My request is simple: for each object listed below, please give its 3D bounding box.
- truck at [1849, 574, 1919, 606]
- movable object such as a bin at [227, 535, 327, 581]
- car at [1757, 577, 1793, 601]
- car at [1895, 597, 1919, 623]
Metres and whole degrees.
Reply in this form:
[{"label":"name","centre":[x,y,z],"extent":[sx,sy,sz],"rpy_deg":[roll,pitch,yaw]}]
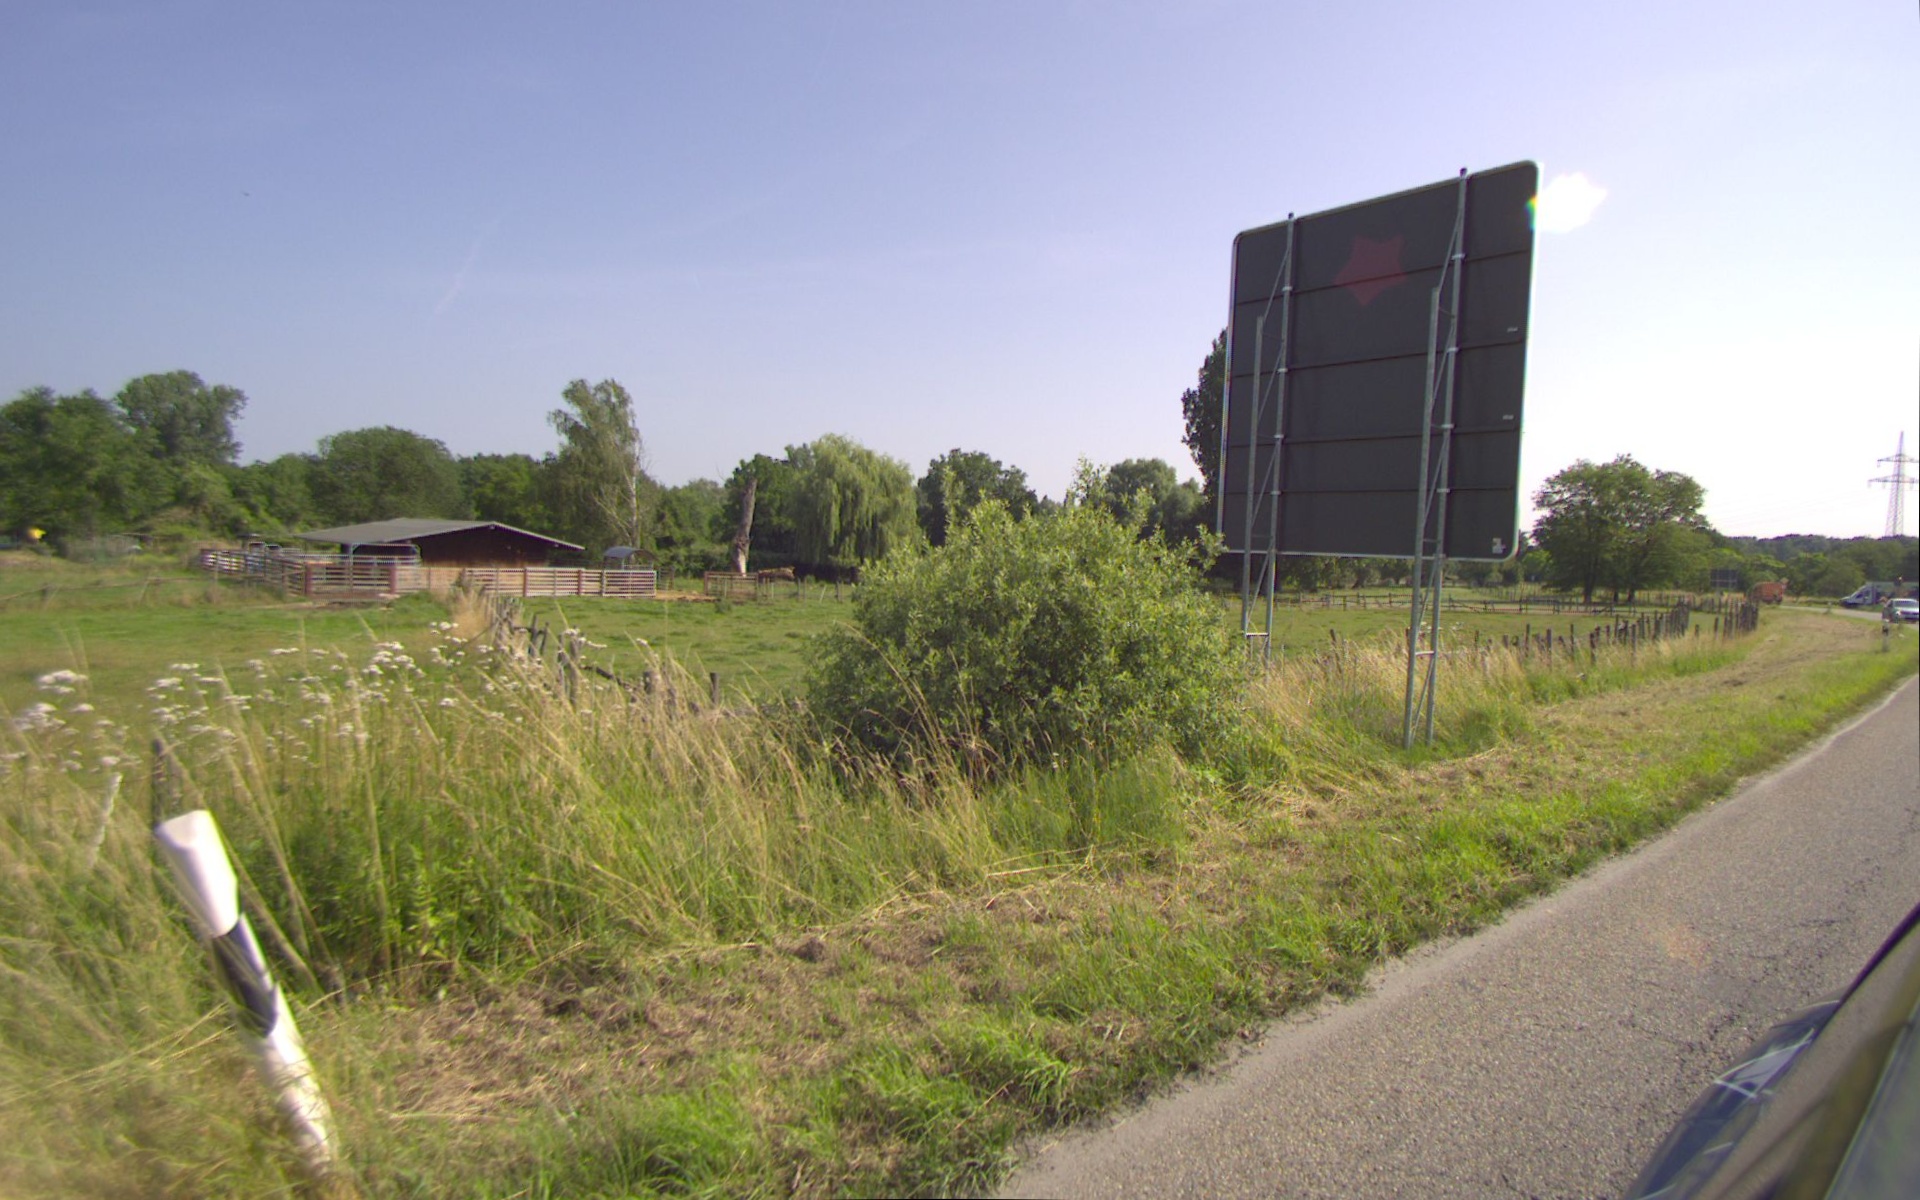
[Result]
[{"label":"truck","centre":[97.464,-1.018,105.220],"extent":[7.330,3.083,2.548],"rpy_deg":[3,2,39]},{"label":"movable object such as a bin","centre":[-35.648,-2.137,52.855],"extent":[4.093,2.221,1.996],"rpy_deg":[0,0,-43]},{"label":"car","centre":[93.158,-1.283,115.785],"extent":[2.111,2.729,5.218],"rpy_deg":[2,2,27]},{"label":"car","centre":[62.753,0.674,66.115],"extent":[1.989,1.599,3.857],"rpy_deg":[3,2,37]}]
